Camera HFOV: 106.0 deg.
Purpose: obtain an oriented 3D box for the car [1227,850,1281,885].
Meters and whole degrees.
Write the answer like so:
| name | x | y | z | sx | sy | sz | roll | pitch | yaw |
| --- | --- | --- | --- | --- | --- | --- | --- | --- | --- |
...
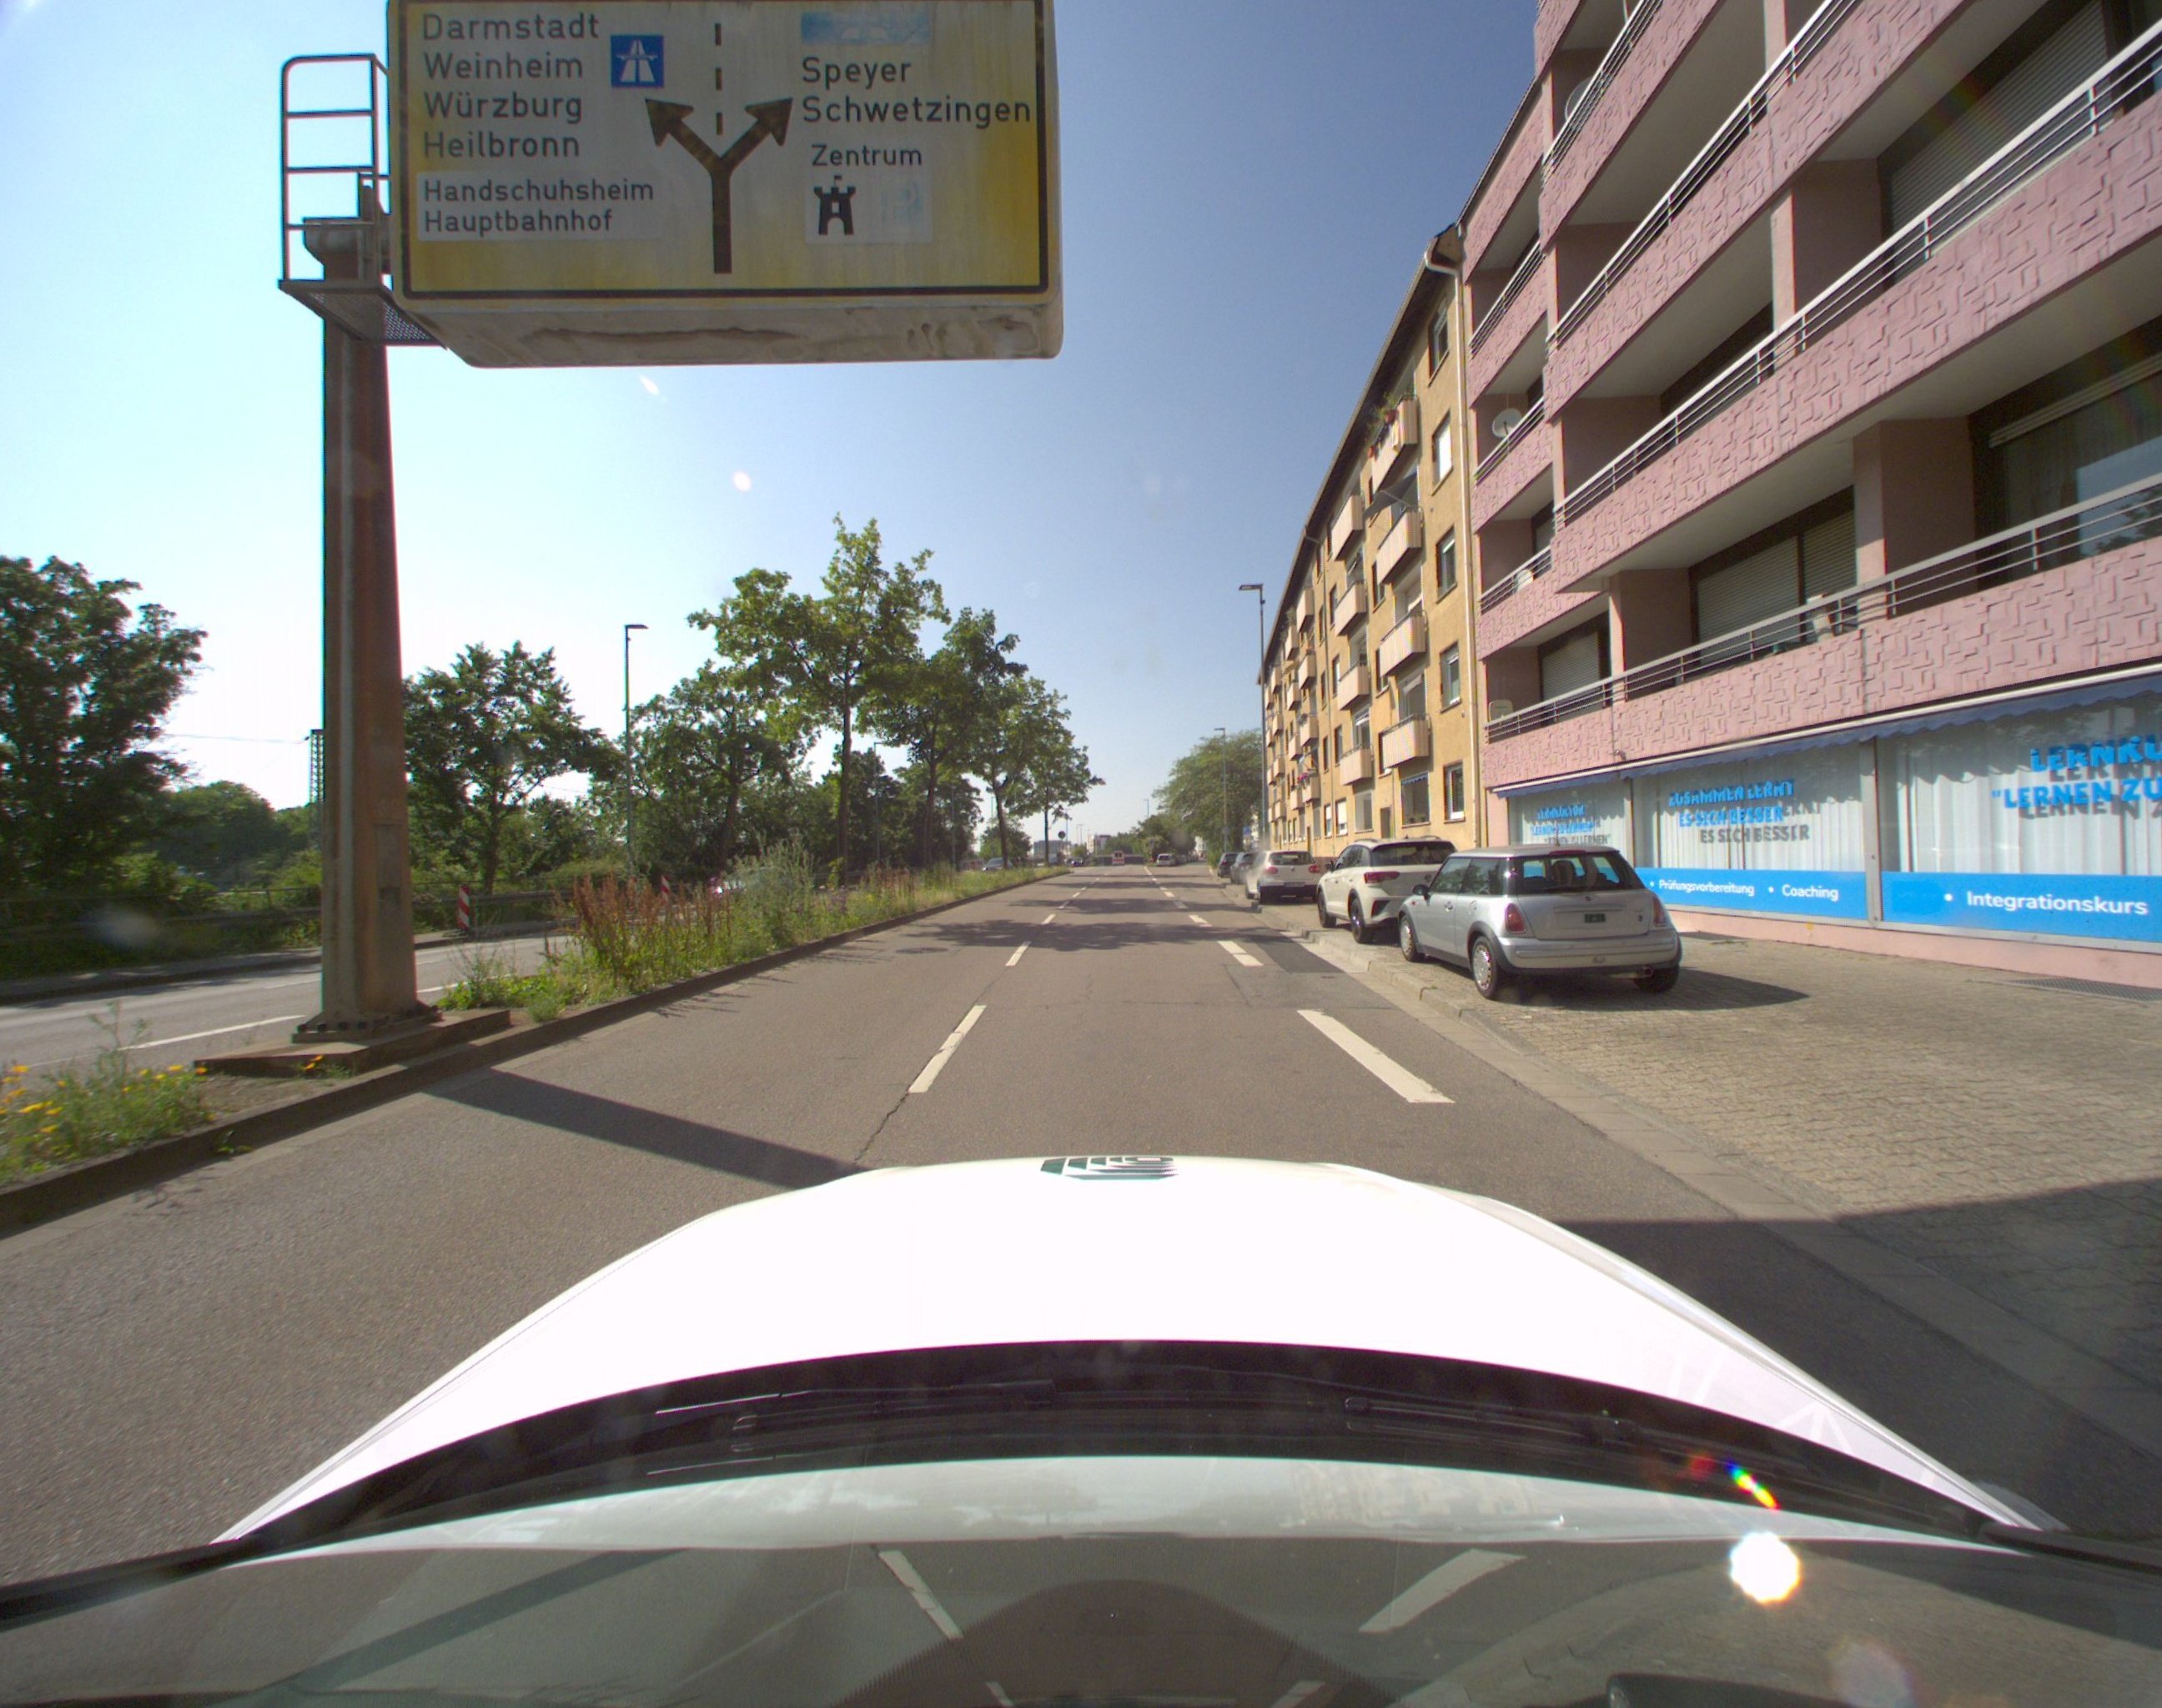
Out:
| name | x | y | z | sx | sy | sz | roll | pitch | yaw |
| --- | --- | --- | --- | --- | --- | --- | --- | --- | --- |
| car | 7.795 | 0.568 | 36.979 | 1.792 | 1.438 | 4.596 | -2 | 0 | 5 |

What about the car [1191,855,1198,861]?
| name | x | y | z | sx | sy | sz | roll | pitch | yaw |
| --- | --- | --- | --- | --- | --- | --- | --- | --- | --- |
| car | 33.643 | 1.123 | 241.149 | 1.982 | 1.657 | 4.009 | -1 | -1 | 8 |

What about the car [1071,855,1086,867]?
| name | x | y | z | sx | sy | sz | roll | pitch | yaw |
| --- | --- | --- | --- | --- | --- | --- | --- | --- | --- |
| car | -0.379 | 1.133 | 132.684 | 1.984 | 1.734 | 4.735 | -1 | 0 | 4 |

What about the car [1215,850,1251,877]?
| name | x | y | z | sx | sy | sz | roll | pitch | yaw |
| --- | --- | --- | --- | --- | --- | --- | --- | --- | --- |
| car | 8.940 | 0.551 | 48.089 | 1.702 | 1.462 | 4.263 | -2 | 0 | 6 |

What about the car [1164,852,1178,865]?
| name | x | y | z | sx | sy | sz | roll | pitch | yaw |
| --- | --- | --- | --- | --- | --- | --- | --- | --- | --- |
| car | 11.568 | 0.526 | 104.894 | 1.762 | 1.579 | 4.193 | -2 | 0 | 6 |

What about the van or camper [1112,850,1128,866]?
| name | x | y | z | sx | sy | sz | roll | pitch | yaw |
| --- | --- | --- | --- | --- | --- | --- | --- | --- | --- |
| van or camper | 6.986 | 0.729 | 146.792 | 2.283 | 2.789 | 5.584 | -1 | 0 | 9 |

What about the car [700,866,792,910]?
| name | x | y | z | sx | sy | sz | roll | pitch | yaw |
| --- | --- | --- | --- | --- | --- | --- | --- | --- | --- |
| car | -12.319 | 1.195 | 30.227 | 1.639 | 1.416 | 3.971 | -2 | 0 | 1 |

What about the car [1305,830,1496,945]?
| name | x | y | z | sx | sy | sz | roll | pitch | yaw |
| --- | --- | --- | --- | --- | --- | --- | --- | --- | --- |
| car | 5.023 | 0.471 | 13.467 | 1.728 | 1.541 | 4.360 | -2 | 0 | 5 |

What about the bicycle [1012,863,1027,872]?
| name | x | y | z | sx | sy | sz | roll | pitch | yaw |
| --- | --- | --- | --- | --- | --- | --- | --- | --- | --- |
| bicycle | -6.629 | 1.497 | 87.970 | 0.688 | 0.905 | 2.352 | -2 | 0 | 17 |

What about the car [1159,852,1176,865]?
| name | x | y | z | sx | sy | sz | roll | pitch | yaw |
| --- | --- | --- | --- | --- | --- | --- | --- | --- | --- |
| car | 10.583 | 0.577 | 99.458 | 1.711 | 1.505 | 4.143 | -2 | 0 | 9 |

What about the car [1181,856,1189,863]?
| name | x | y | z | sx | sy | sz | roll | pitch | yaw |
| --- | --- | --- | --- | --- | --- | --- | --- | --- | --- |
| car | 22.905 | 1.139 | 178.853 | 1.654 | 1.509 | 4.019 | 1 | 0 | 9 |

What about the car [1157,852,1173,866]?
| name | x | y | z | sx | sy | sz | roll | pitch | yaw |
| --- | --- | --- | --- | --- | --- | --- | --- | --- | --- |
| car | 9.760 | 0.589 | 94.857 | 1.610 | 1.505 | 3.470 | -2 | 0 | 9 |

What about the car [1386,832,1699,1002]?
| name | x | y | z | sx | sy | sz | roll | pitch | yaw |
| --- | --- | --- | --- | --- | --- | --- | --- | --- | --- |
| car | 4.694 | 0.551 | 8.893 | 1.670 | 1.409 | 3.436 | -4 | 0 | 6 |

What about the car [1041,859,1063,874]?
| name | x | y | z | sx | sy | sz | roll | pitch | yaw |
| --- | --- | --- | --- | --- | --- | --- | --- | --- | --- |
| car | -3.026 | 1.275 | 86.834 | 1.755 | 1.474 | 4.090 | -3 | 0 | 5 |

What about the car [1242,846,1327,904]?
| name | x | y | z | sx | sy | sz | roll | pitch | yaw |
| --- | --- | --- | --- | --- | --- | --- | --- | --- | --- |
| car | 5.847 | 0.552 | 23.883 | 1.748 | 1.506 | 4.133 | -2 | 0 | 5 |

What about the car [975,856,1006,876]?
| name | x | y | z | sx | sy | sz | roll | pitch | yaw |
| --- | --- | --- | --- | --- | --- | --- | --- | --- | --- |
| car | -7.364 | 0.978 | 66.689 | 1.789 | 1.530 | 4.005 | -1 | 0 | 4 |

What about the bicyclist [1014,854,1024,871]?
| name | x | y | z | sx | sy | sz | roll | pitch | yaw |
| --- | --- | --- | --- | --- | --- | --- | --- | --- | --- |
| bicyclist | -6.726 | 0.891 | 87.821 | 0.691 | 1.832 | 1.021 | -2 | 0 | 17 |
